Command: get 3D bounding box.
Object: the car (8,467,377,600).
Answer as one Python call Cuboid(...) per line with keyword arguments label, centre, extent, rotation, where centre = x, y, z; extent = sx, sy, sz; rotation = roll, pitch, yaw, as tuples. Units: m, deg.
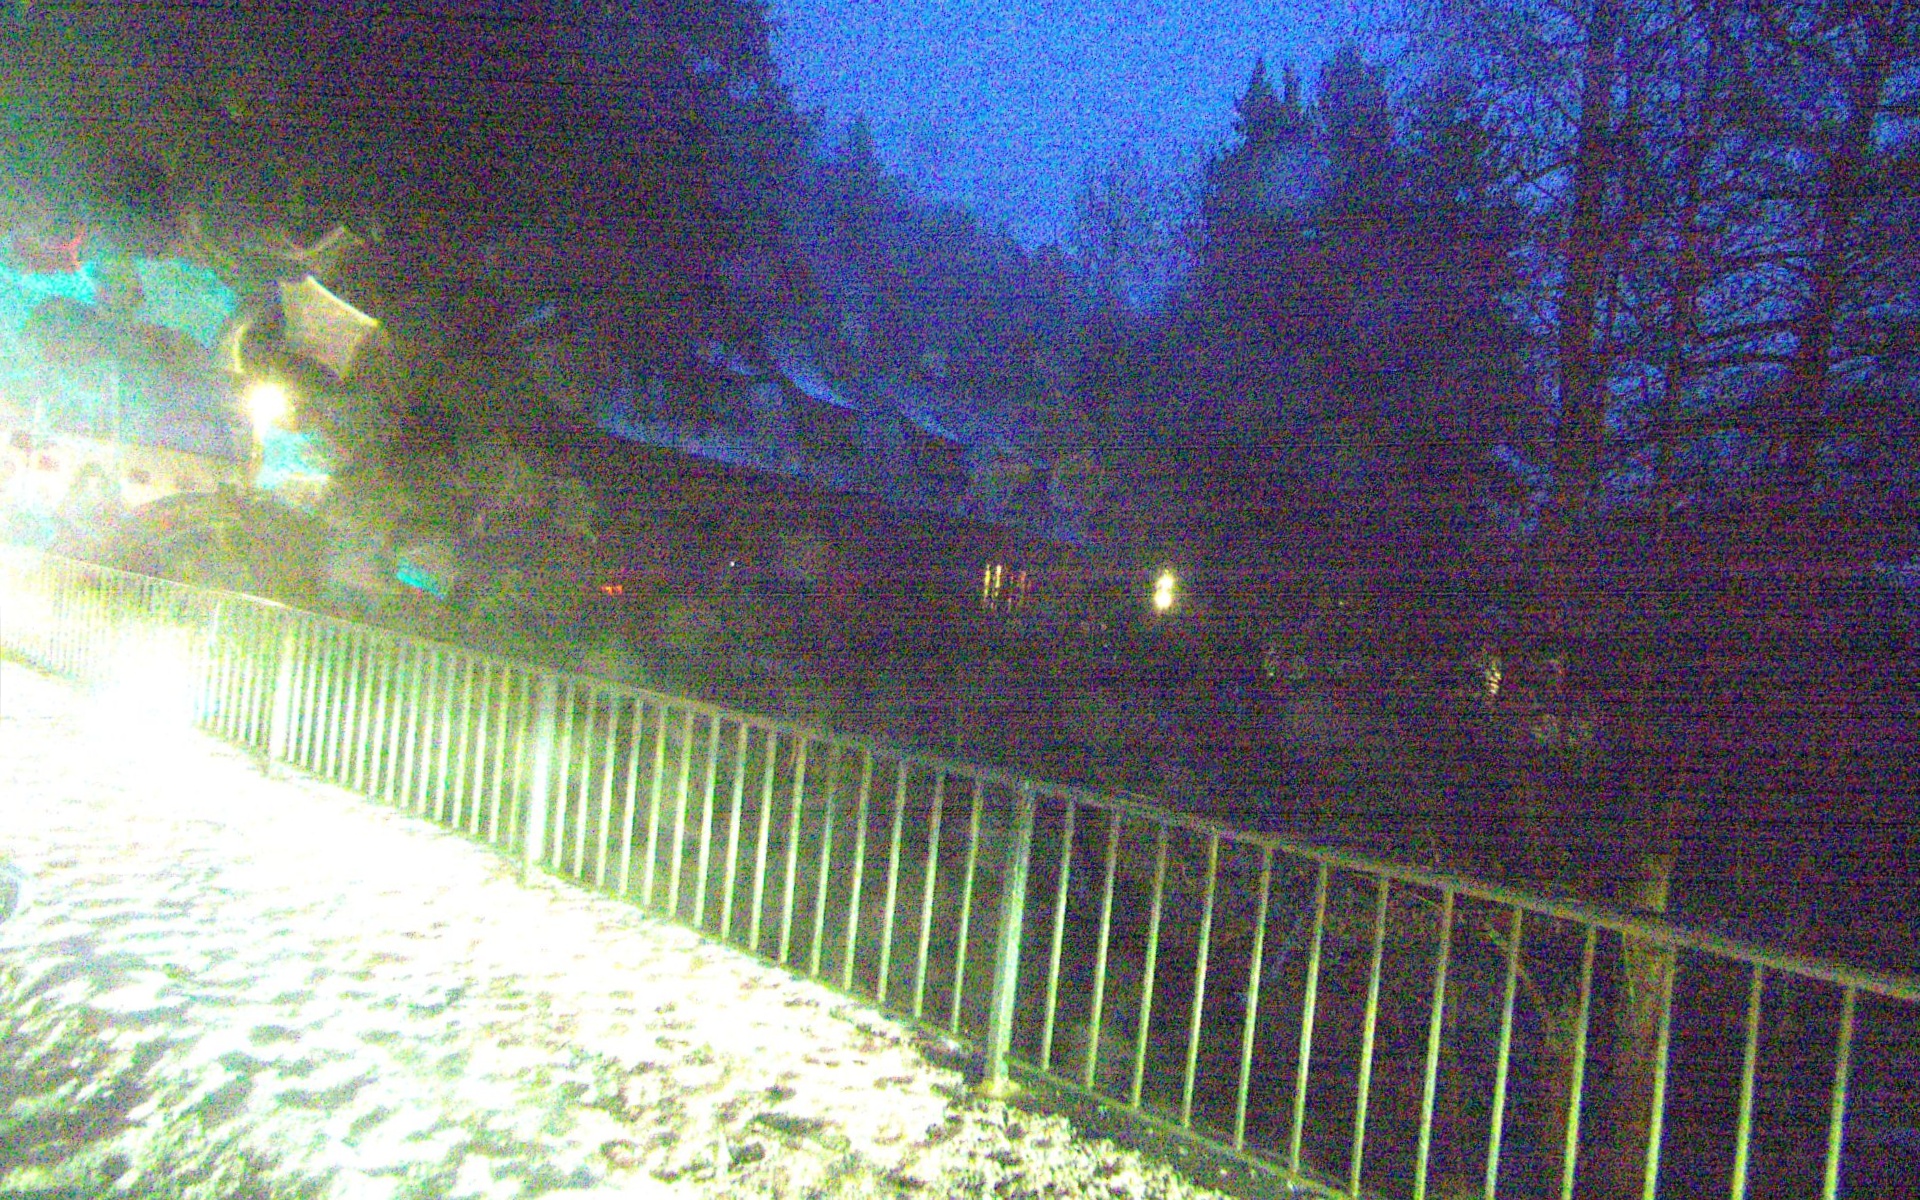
Cuboid(label="car", centre=(-12.236, -1.014, 16.268), extent=(1.913, 1.607, 4.455), rotation=(8, 3, 43))
